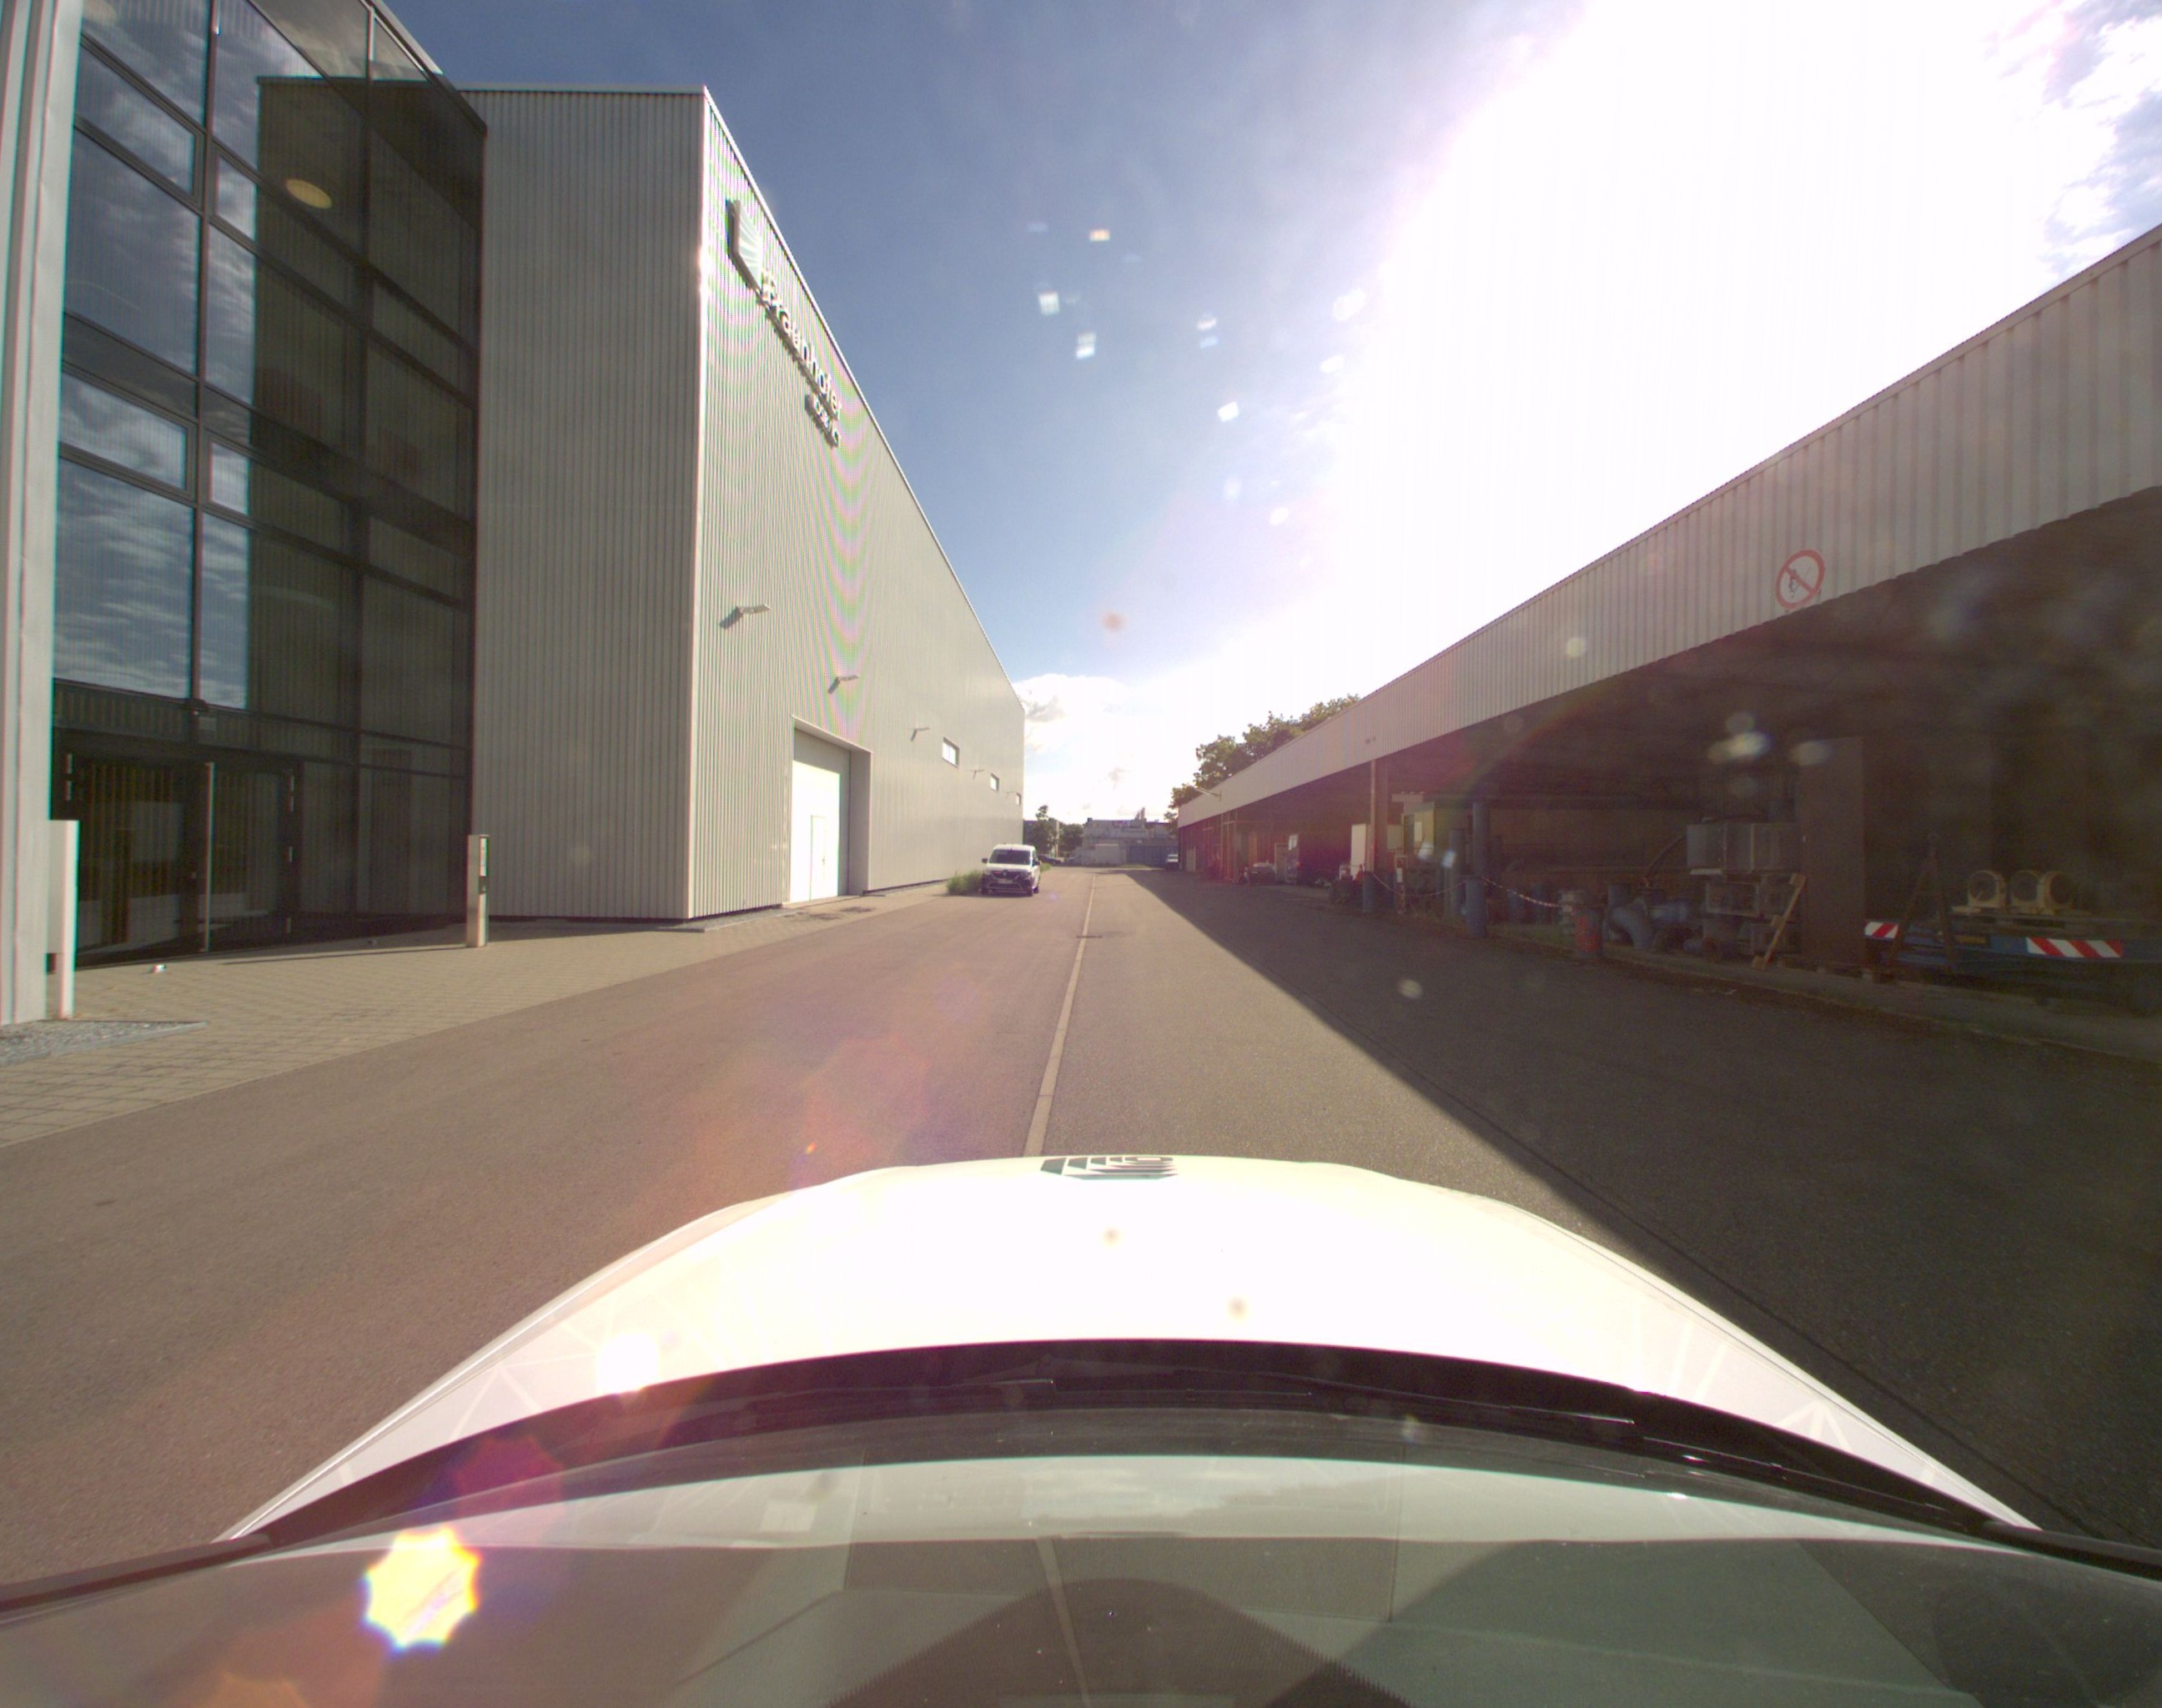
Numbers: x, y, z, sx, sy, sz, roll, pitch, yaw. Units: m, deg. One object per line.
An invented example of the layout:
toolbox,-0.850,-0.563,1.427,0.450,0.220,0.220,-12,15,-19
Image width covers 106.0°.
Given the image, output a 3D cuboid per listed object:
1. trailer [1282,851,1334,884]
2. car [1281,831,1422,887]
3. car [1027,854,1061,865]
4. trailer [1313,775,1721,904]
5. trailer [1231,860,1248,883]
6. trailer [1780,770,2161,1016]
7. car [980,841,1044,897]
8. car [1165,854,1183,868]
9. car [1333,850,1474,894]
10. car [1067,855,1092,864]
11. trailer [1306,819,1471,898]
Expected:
trailer,10.401,0.624,37.414,2.028,1.466,1.741,-1,0,5
car,11.461,0.218,34.792,5.314,2.281,2.152,0,-1,0
car,-5.060,0.744,111.726,4.432,1.531,1.824,-1,-1,0
trailer,12.205,-0.380,23.493,10.230,3.343,2.802,-1,0,1
trailer,7.891,0.860,40.548,0.550,1.118,1.546,-1,-1,-1
trailer,9.759,0.307,7.678,4.405,1.990,2.164,-1,-1,2
car,-2.433,0.520,29.728,1.777,1.816,4.602,2,-1,1
car,11.284,0.838,99.097,1.971,1.602,4.380,-1,1,3
car,11.234,0.613,28.551,4.237,1.471,1.868,0,0,-2
car,-0.234,0.954,139.576,4.288,1.457,1.824,-1,-1,0
trailer,9.702,0.157,26.013,4.499,2.342,2.048,-1,-1,2
